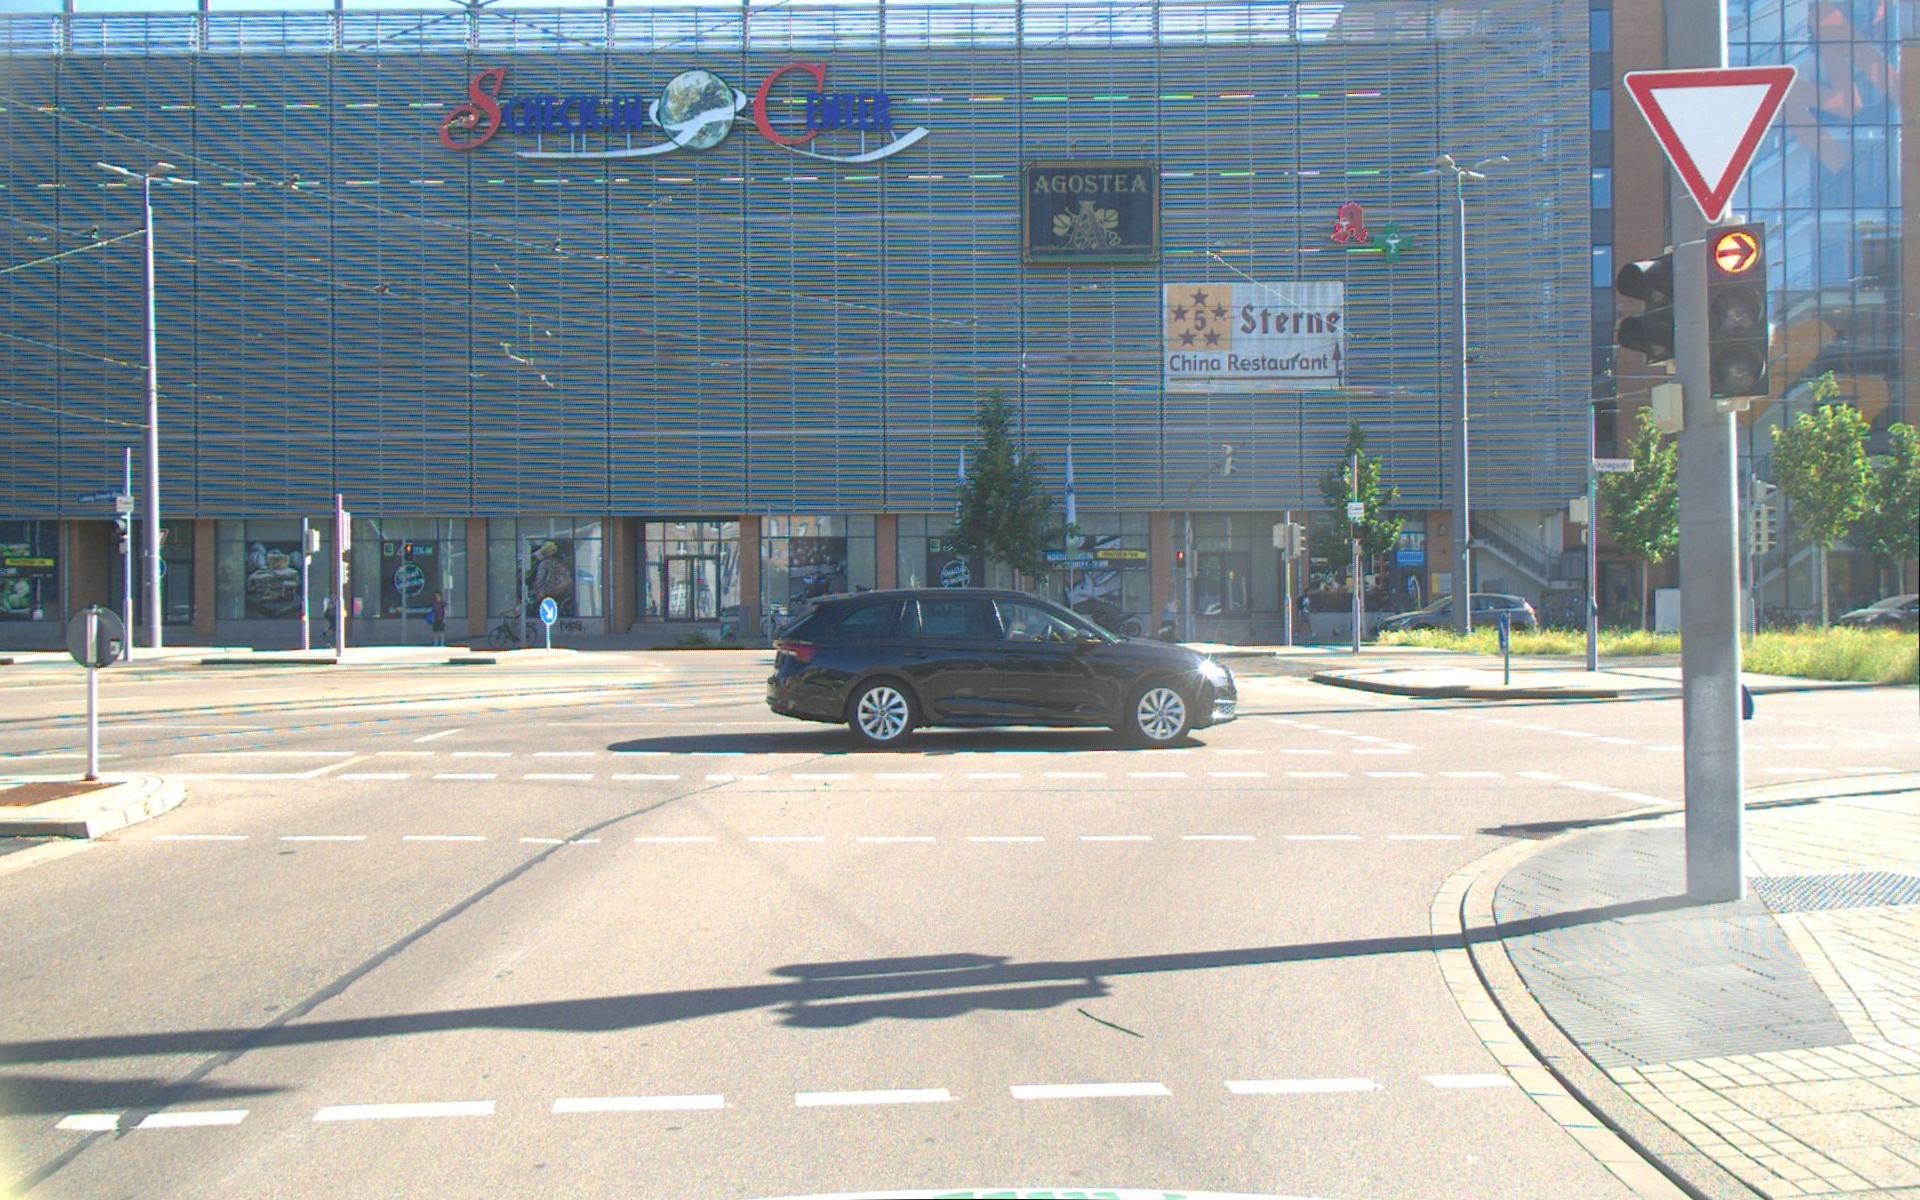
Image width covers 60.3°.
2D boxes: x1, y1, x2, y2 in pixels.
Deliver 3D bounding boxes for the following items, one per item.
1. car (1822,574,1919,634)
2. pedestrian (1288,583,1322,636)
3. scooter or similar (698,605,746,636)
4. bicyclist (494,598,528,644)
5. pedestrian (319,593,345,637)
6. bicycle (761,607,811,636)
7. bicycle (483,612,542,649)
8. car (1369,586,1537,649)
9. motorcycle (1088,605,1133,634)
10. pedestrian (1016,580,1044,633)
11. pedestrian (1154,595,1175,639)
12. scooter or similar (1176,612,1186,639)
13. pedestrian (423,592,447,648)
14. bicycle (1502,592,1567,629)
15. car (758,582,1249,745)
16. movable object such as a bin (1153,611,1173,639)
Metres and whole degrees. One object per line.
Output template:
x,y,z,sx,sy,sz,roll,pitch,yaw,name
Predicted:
29.019,0.168,50.829,4.210,1.611,1.837,3,-1,-9,car
12.297,0.337,59.051,0.991,1.860,1.036,-2,0,3,pedestrian
-8.743,0.745,60.780,1.759,1.085,0.611,0,1,-9,scooter or similar
-14.796,0.687,54.545,0.663,1.452,0.844,0,2,42,bicyclist
-23.332,0.556,61.443,0.646,1.629,0.594,1,-1,18,pedestrian
-6.362,0.777,60.433,1.783,1.006,0.556,0,1,-11,bicycle
-14.764,1.004,54.620,0.559,1.105,1.852,0,2,42,bicycle
13.673,0.496,46.046,4.063,1.495,1.840,3,-1,-2,car
5.533,0.727,60.708,1.605,1.022,0.447,1,0,6,motorcycle
2.514,0.247,59.607,0.930,1.860,0.846,-2,-4,5,pedestrian
6.860,0.577,55.364,0.641,1.438,0.850,1,0,10,pedestrian
7.369,0.833,55.190,0.288,0.888,1.004,1,0,10,scooter or similar
-17.335,0.660,54.669,0.683,1.829,0.727,-2,0,-17,pedestrian
21.292,0.391,61.351,2.209,1.318,0.605,1,-1,-2,bicycle
0.357,0.585,16.228,4.578,1.487,1.831,0,0,-6,car
6.745,0.831,54.897,0.599,0.920,0.970,1,0,10,movable object such as a bin
